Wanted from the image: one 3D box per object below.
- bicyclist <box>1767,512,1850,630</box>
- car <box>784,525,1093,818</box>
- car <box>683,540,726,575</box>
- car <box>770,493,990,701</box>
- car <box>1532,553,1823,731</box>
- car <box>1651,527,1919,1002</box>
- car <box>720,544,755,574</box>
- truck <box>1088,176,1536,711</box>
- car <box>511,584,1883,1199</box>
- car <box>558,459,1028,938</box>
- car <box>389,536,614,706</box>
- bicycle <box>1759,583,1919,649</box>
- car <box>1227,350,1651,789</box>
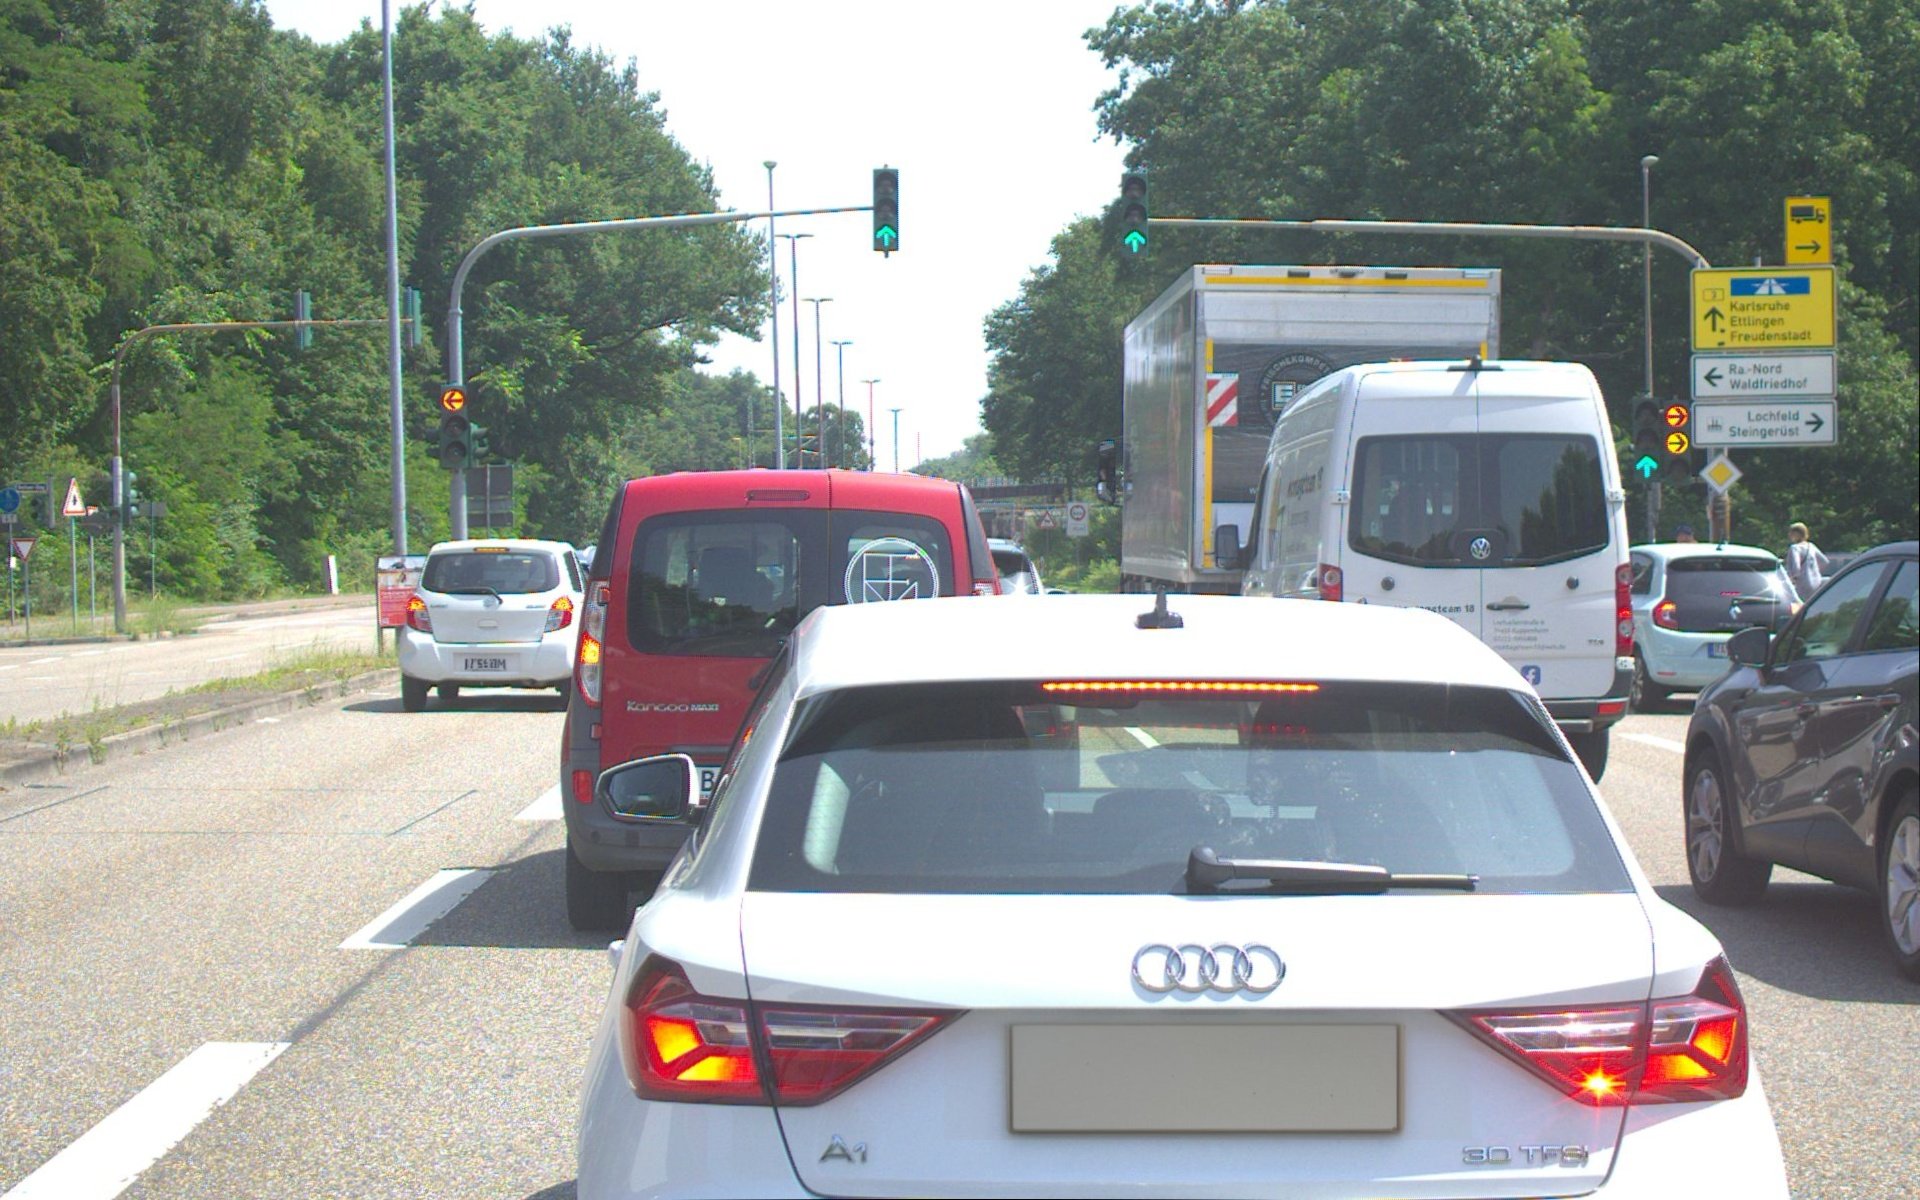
[{"bbox_3d":[10.476,-0.359,42.445,0.826,1.434,0.599,-1,1,-4],"label":"bicyclist"},{"bbox_3d":[-0.204,0.359,21.115,1.711,1.626,4.092,0,1,-2],"label":"car"},{"bbox_3d":[-13.164,-2.211,177.526,1.993,1.766,4.205,-1,1,-2],"label":"car"},{"bbox_3d":[-0.710,-0.060,28.873,1.711,1.626,4.092,0,1,-2],"label":"car"},{"bbox_3d":[6.647,0.343,32.259,1.711,1.541,4.092,0,1,-2],"label":"car"},{"bbox_3d":[3.998,0.520,13.191,1.711,1.587,4.092,0,1,-2],"label":"car"},{"bbox_3d":[-13.067,-2.430,202.016,1.830,1.722,4.000,-1,1,-1],"label":"car"},{"bbox_3d":[3.142,-1.408,34.370,3.088,4.418,11.581,0,1,-1],"label":"truck"},{"bbox_3d":[0.215,0.689,6.326,1.711,1.381,4.092,0,1,-2],"label":"car"},{"bbox_3d":[-0.693,0.322,14.592,1.711,1.742,4.092,0,1,-2],"label":"car"},{"bbox_3d":[-4.213,0.147,32.096,1.711,1.487,4.092,0,1,-2],"label":"car"},{"bbox_3d":[10.861,0.198,42.446,1.821,0.763,0.601,-1,1,-4],"label":"bicycle"},{"bbox_3d":[3.066,-0.227,23.068,2.031,2.635,4.846,0,1,-2],"label":"car"}]
